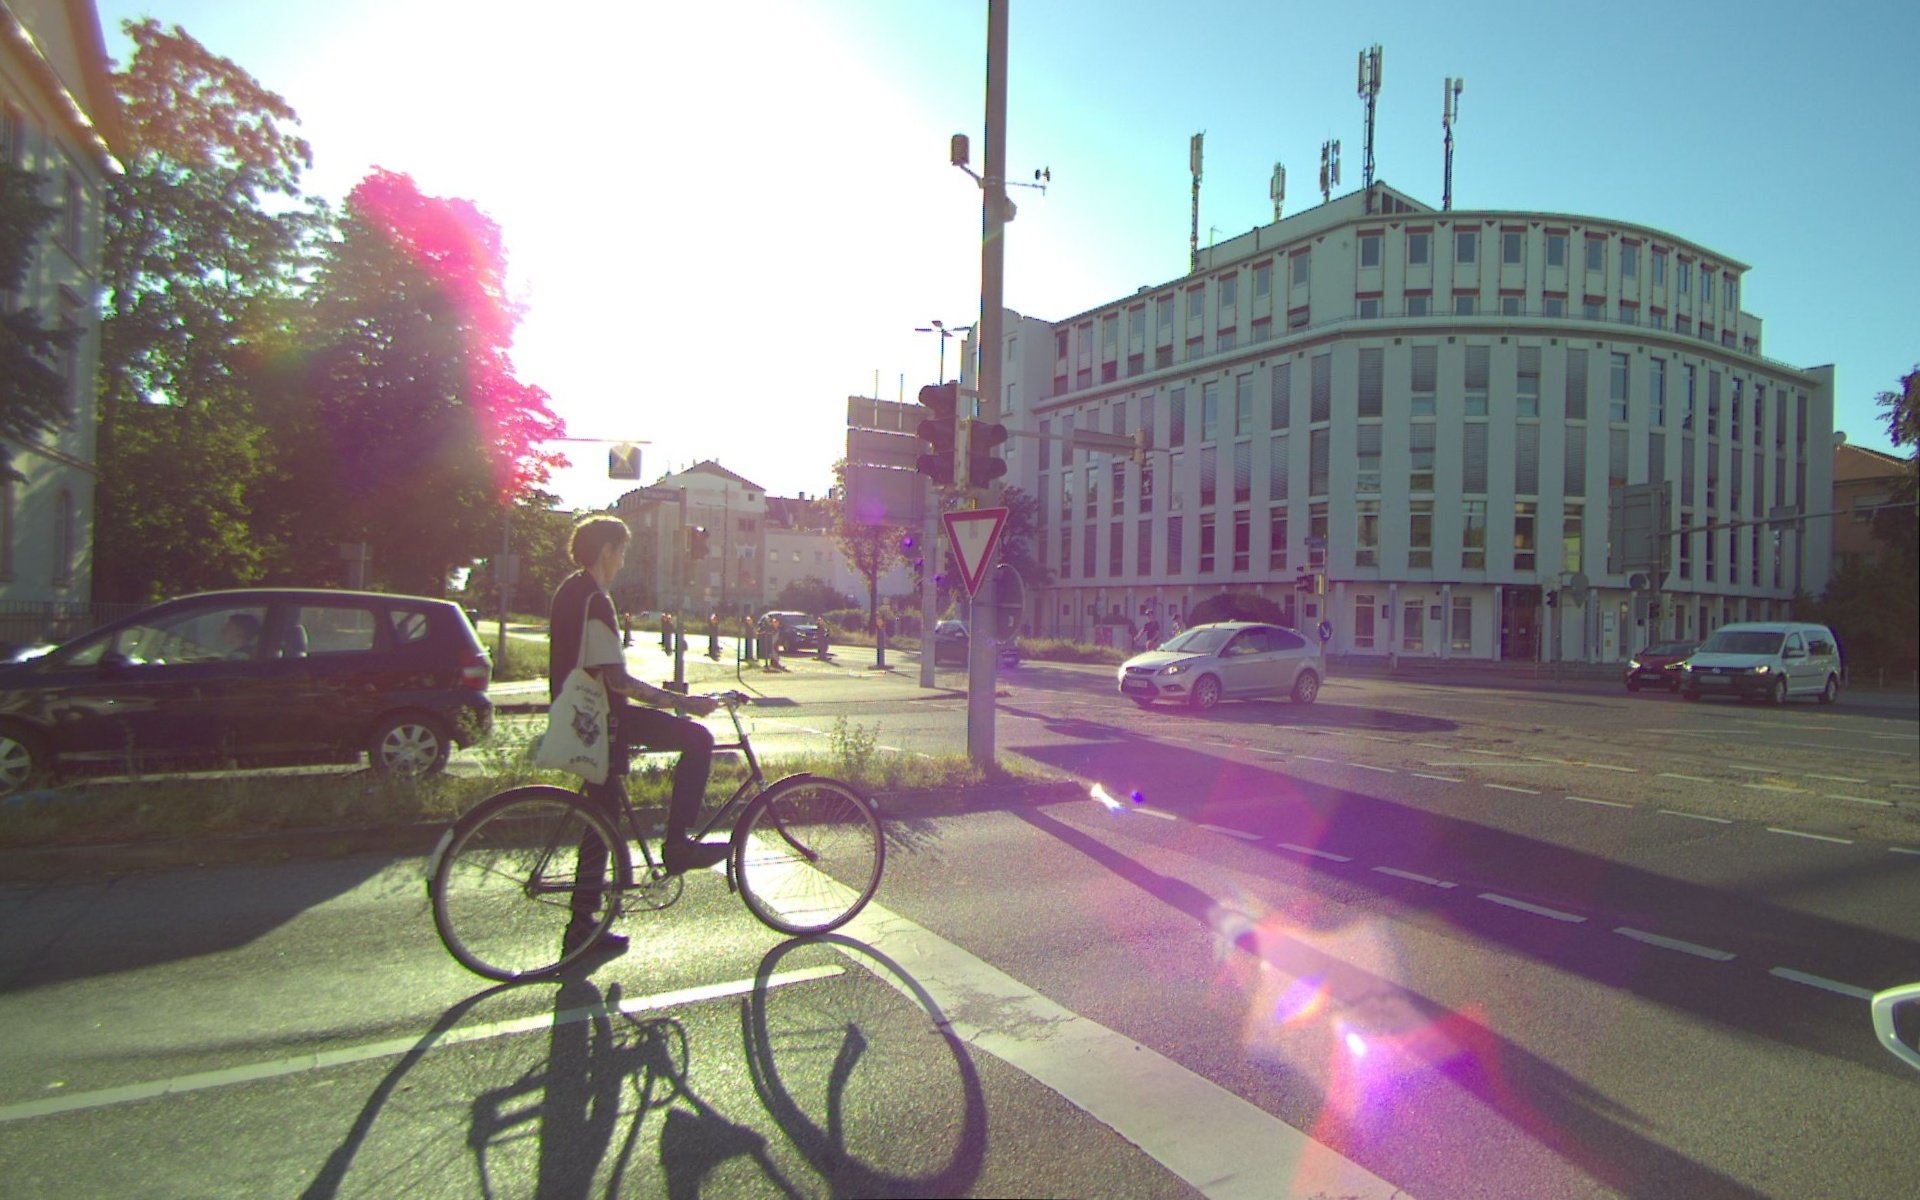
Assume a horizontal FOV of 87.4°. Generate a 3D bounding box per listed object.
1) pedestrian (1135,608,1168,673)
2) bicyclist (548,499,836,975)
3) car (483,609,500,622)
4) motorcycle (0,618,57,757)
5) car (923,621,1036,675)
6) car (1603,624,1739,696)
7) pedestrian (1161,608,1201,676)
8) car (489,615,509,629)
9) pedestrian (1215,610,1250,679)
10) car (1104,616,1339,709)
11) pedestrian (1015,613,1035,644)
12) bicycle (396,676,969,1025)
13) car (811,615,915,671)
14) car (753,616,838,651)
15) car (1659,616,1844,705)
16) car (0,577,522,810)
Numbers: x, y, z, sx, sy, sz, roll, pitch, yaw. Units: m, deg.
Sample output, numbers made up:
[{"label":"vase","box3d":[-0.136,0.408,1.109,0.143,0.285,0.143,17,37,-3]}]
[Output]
[{"label":"pedestrian","box3d":[5.598,1.187,29.448,0.764,1.883,0.662,1,-1,-5]},{"label":"bicyclist","box3d":[-1.138,0.520,4.256,0.977,1.750,0.687,2,-1,-33]},{"label":"car","box3d":[-75.928,2.561,162.757,1.979,1.909,3.964,4,-4,-33]},{"label":"motorcycle","box3d":[-10.282,0.798,9.227,2.811,1.301,0.766,2,-1,-32]},{"label":"car","box3d":[0.565,1.532,32.213,1.843,1.549,3.787,4,-4,-32]},{"label":"car","box3d":[19.778,1.637,27.907,4.006,1.835,1.738,2,-1,-33]},{"label":"pedestrian","box3d":[6.266,1.185,28.525,0.805,1.866,0.758,2,-1,-16]},{"label":"car","box3d":[-67.661,3.195,147.351,1.979,1.909,3.964,4,-4,-33]},{"label":"pedestrian","box3d":[7.617,1.240,28.114,0.763,1.893,0.662,1,-1,-2]},{"label":"car","box3d":[4.834,1.108,18.389,4.297,1.514,1.649,2,-1,-31]},{"label":"pedestrian","box3d":[3.840,1.664,59.340,0.901,1.816,0.671,0,-1,43]},{"label":"bicycle","box3d":[-1.090,0.910,4.279,2.234,1.114,0.696,2,-1,-33]},{"label":"car","box3d":[-3.166,1.328,32.056,1.973,1.650,4.332,2,-1,-25]},{"label":"car","box3d":[-6.999,1.421,42.488,1.813,1.372,3.954,2,-2,-39]},{"label":"car","box3d":[18.046,1.342,22.843,4.666,1.835,1.904,2,-1,-33]},{"label":"car","box3d":[-5.685,0.651,7.845,3.955,1.514,1.649,2,-1,-32]}]
